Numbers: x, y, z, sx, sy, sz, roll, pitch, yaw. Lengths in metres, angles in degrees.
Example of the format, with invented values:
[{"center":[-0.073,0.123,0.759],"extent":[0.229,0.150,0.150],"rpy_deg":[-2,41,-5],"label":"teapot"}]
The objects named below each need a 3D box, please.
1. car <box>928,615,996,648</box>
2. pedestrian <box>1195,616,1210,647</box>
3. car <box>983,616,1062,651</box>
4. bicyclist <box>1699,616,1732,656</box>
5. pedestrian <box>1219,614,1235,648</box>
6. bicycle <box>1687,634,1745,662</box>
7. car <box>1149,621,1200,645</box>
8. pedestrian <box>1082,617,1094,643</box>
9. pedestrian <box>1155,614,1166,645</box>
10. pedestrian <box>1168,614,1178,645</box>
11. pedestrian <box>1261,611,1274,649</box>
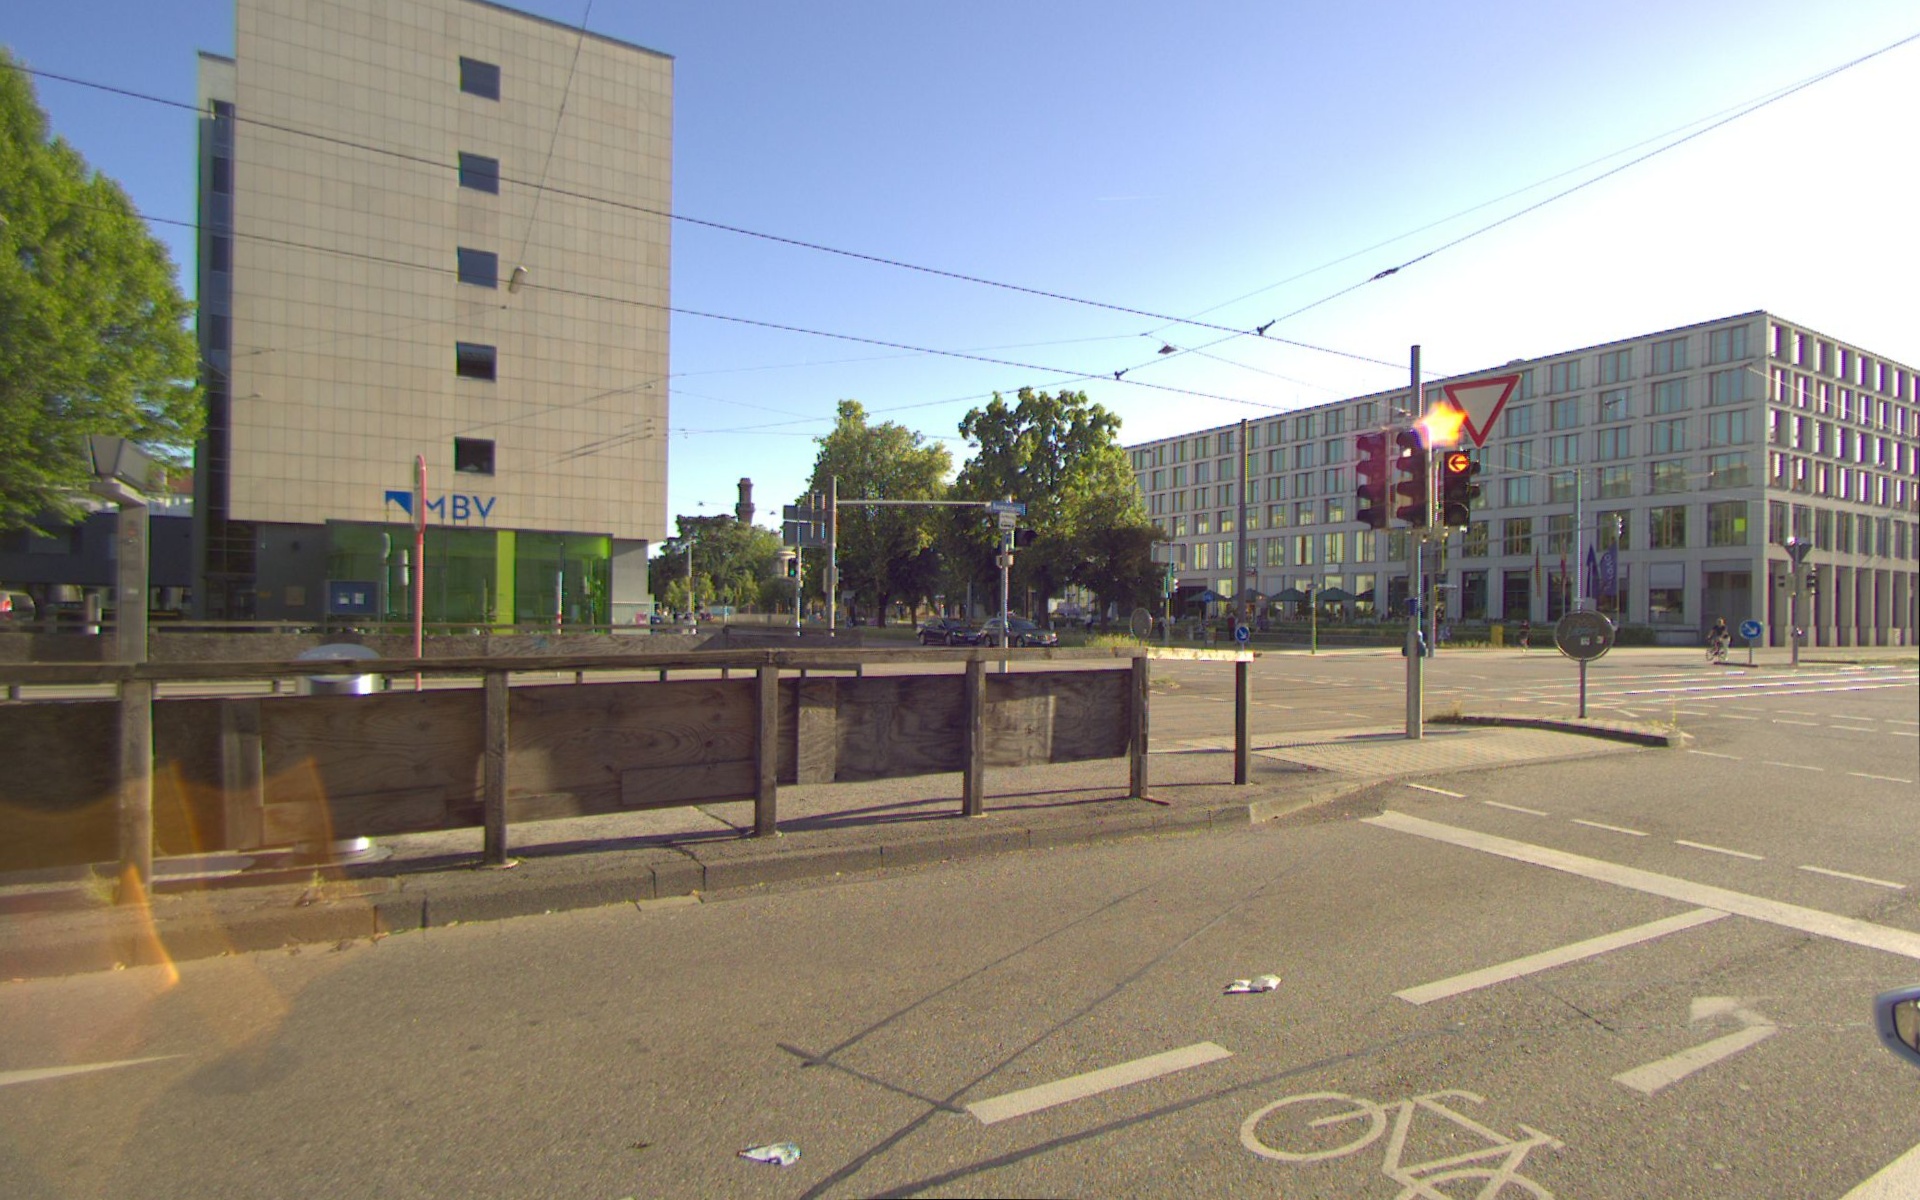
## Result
[{"center":[0.077,1.595,52.307],"extent":[1.801,1.595,3.967],"rpy_deg":[0,0,-31],"label":"car"},{"center":[16.009,2.068,66.263],"extent":[0.793,2.040,0.526],"rpy_deg":[1,-1,-36],"label":"pedestrian"},{"center":[2.889,1.549,47.447],"extent":[1.708,1.595,4.140],"rpy_deg":[1,-1,-31],"label":"car"},{"center":[31.991,1.528,42.530],"extent":[0.812,1.663,0.872],"rpy_deg":[1,-1,-29],"label":"bicyclist"},{"center":[16.451,1.905,61.878],"extent":[0.644,2.095,0.645],"rpy_deg":[3,-2,-36],"label":"pedestrian"},{"center":[32.029,2.009,42.550],"extent":[2.976,1.136,0.871],"rpy_deg":[1,-1,-29],"label":"bicycle"},{"center":[13.495,2.047,63.404],"extent":[1.453,1.457,3.171],"rpy_deg":[1,-1,-29],"label":"car"},{"center":[9.300,2.176,73.138],"extent":[0.672,1.928,0.560],"rpy_deg":[1,-1,-21],"label":"pedestrian"},{"center":[13.158,1.937,65.877],"extent":[0.483,2.040,0.493],"rpy_deg":[1,-1,-17],"label":"pedestrian"},{"center":[14.035,1.966,66.275],"extent":[0.483,2.040,0.493],"rpy_deg":[1,-1,-17],"label":"pedestrian"},{"center":[18.768,1.829,61.325],"extent":[0.528,2.310,0.565],"rpy_deg":[1,-1,-36],"label":"pedestrian"}]
